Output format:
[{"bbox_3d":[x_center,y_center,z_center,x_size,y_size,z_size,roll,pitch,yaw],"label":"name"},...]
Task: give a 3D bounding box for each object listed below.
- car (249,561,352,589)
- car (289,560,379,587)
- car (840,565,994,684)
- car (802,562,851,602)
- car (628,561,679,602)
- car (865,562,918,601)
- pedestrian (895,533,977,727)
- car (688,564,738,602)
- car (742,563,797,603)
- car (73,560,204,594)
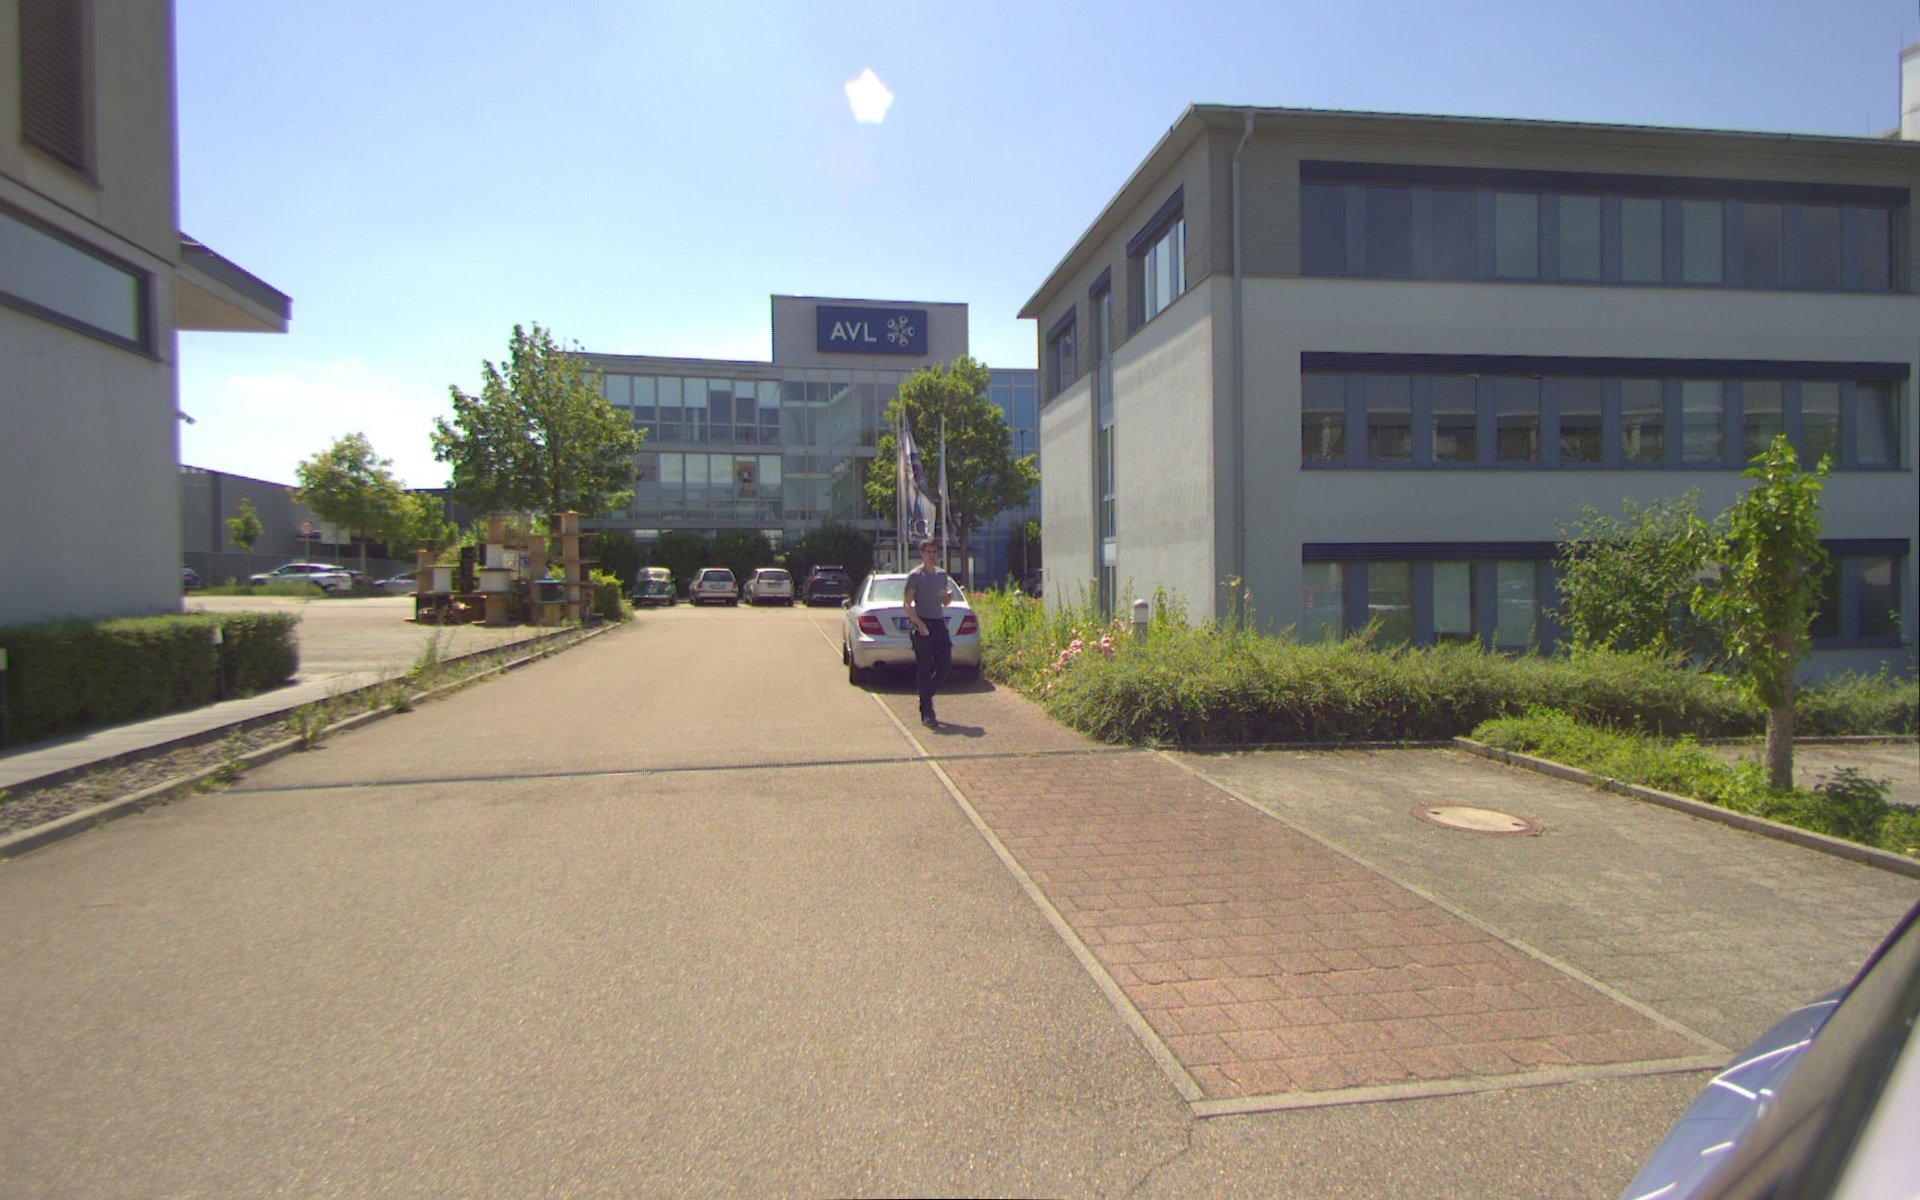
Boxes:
[{"bbox_3d":[-34.853,-1.306,53.508,4.366,1.433,1.748,0,0,2],"label":"car"},{"bbox_3d":[-34.816,-1.467,56.349,3.991,1.433,1.748,0,0,2],"label":"car"},{"bbox_3d":[-0.734,0.271,14.313,1.694,1.454,3.723,0,1,-10],"label":"car"},{"bbox_3d":[-5.542,-0.734,41.698,1.713,1.538,4.008,0,1,-11],"label":"car"},{"bbox_3d":[-12.034,-0.723,39.882,1.713,1.538,4.008,0,1,-14],"label":"car"},{"bbox_3d":[-2.907,-0.753,42.331,1.713,1.538,4.008,0,1,-11],"label":"car"},{"bbox_3d":[-0.241,0.266,9.720,0.606,1.779,0.790,0,0,-16],"label":"pedestrian"},{"bbox_3d":[-9.928,-0.671,40.507,1.639,1.458,4.009,0,1,-18],"label":"car"},{"bbox_3d":[-7.857,-0.700,41.513,1.713,1.538,4.009,0,1,-18],"label":"car"},{"bbox_3d":[-35.375,-0.991,43.641,4.367,1.433,1.748,0,0,4],"label":"car"}]
